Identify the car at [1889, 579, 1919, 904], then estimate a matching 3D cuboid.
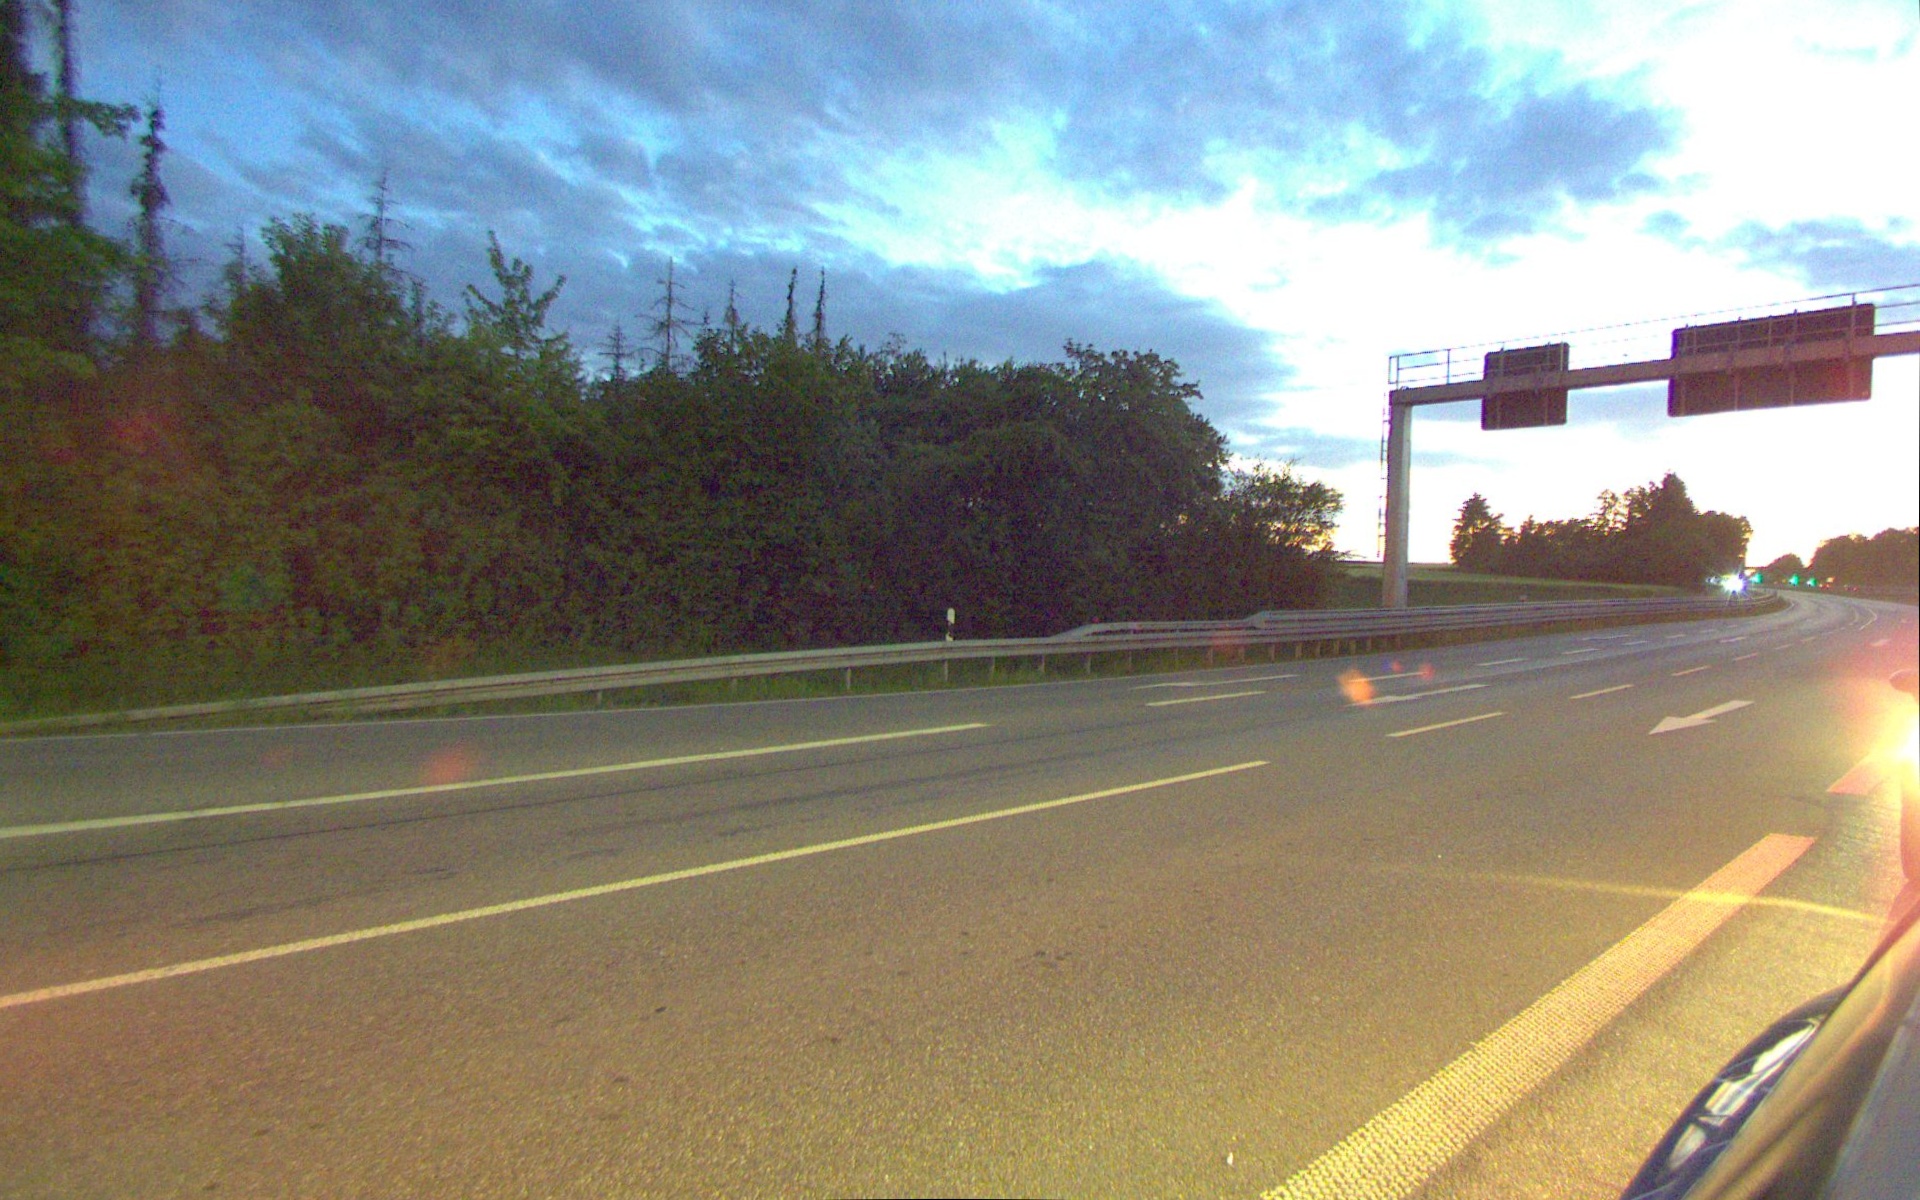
[{"bbox_3d":[6.331,0.653,5.247,3.707,1.499,1.670,0,1,-38],"label":"car"}]
